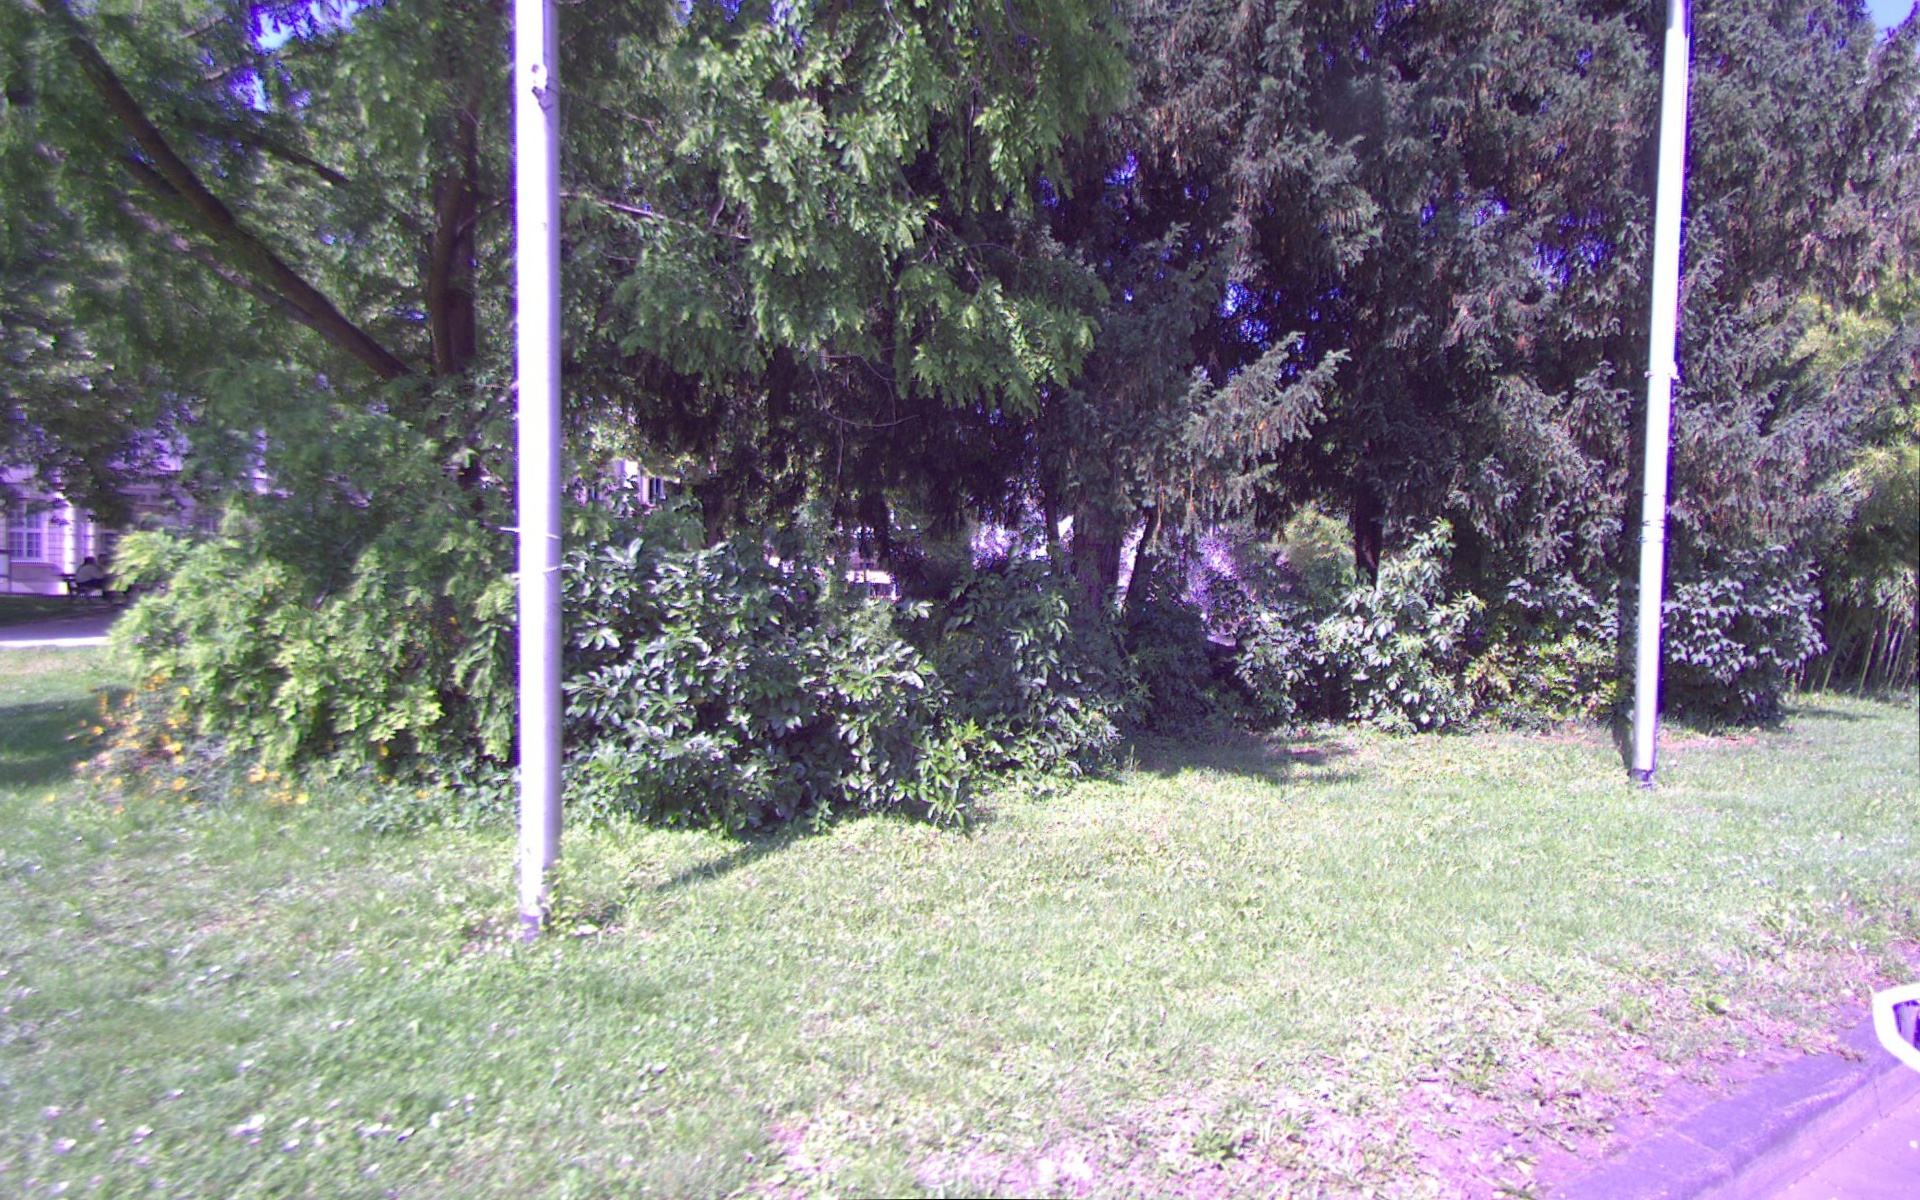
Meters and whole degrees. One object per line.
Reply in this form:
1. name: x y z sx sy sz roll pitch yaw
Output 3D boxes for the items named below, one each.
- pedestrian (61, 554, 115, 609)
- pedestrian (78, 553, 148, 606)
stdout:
1. pedestrian: -20.542 -0.436 23.678 0.659 1.242 0.754 1 1 -12
2. pedestrian: -20.526 -0.501 24.364 1.040 1.242 0.754 1 1 -13
